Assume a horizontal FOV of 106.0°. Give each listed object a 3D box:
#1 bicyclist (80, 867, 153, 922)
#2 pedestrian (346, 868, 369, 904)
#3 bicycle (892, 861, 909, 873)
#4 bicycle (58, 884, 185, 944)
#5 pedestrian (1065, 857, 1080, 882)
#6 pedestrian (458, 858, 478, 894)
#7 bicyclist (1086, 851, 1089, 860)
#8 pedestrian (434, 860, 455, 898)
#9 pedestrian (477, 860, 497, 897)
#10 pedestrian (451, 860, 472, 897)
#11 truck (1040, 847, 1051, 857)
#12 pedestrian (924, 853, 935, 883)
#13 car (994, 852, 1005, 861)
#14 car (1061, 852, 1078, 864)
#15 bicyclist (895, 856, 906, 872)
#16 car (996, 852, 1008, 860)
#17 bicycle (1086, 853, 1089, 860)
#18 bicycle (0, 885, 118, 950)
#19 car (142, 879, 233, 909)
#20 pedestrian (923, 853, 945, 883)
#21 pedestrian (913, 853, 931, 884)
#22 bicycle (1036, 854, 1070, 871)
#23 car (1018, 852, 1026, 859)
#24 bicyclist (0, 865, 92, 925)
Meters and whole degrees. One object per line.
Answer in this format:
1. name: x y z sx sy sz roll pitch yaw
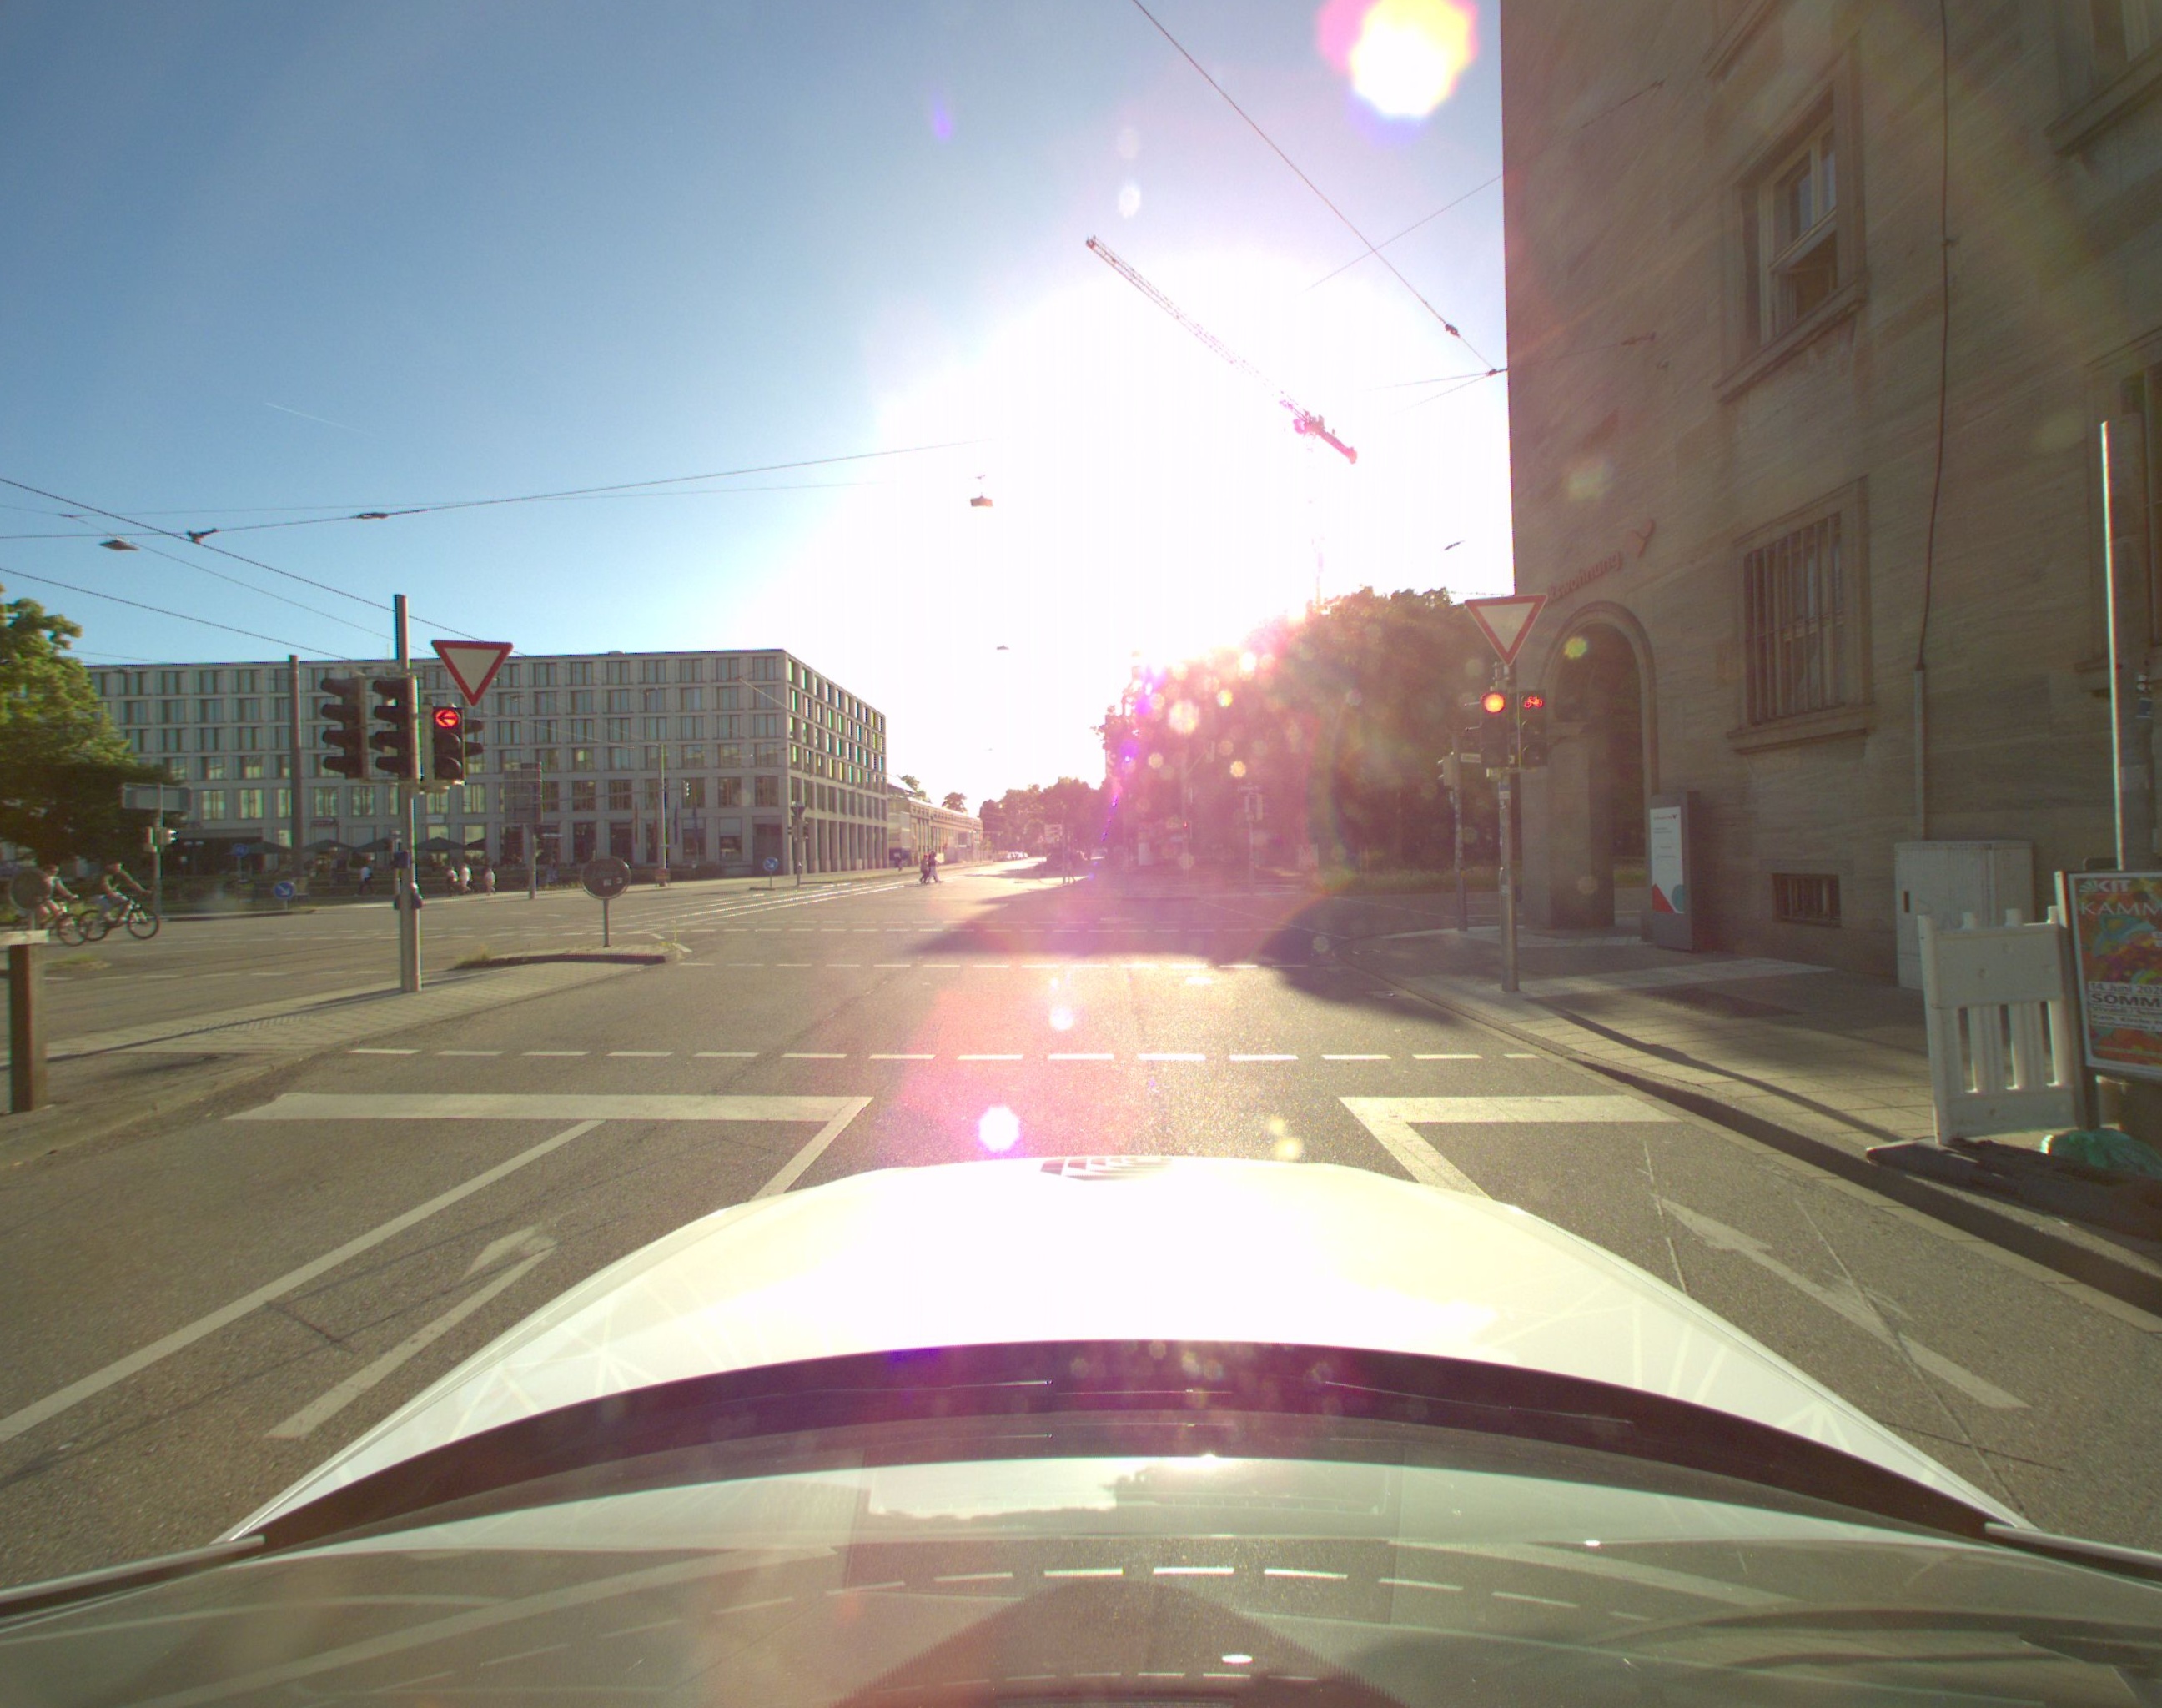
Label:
1. bicyclist: -22.370 0.935 18.901 0.718 1.218 0.798 -2 0 1
2. pedestrian: -39.144 1.731 44.075 0.557 1.903 0.684 -2 0 10
3. bicycle: -18.626 1.305 83.964 0.872 1.121 3.015 -2 0 3
4. bicycle: -22.244 1.378 18.905 1.979 1.291 0.792 -2 0 0
5. pedestrian: -0.469 0.853 44.578 0.749 1.332 0.743 -2 0 3
6. pedestrian: -34.779 1.262 46.206 0.528 2.013 0.800 -2 0 -5
7. bicyclist: 0.777 0.154 100.465 0.317 1.127 0.291 -2 0 1
8. pedestrian: -34.389 1.325 44.014 0.528 2.013 0.800 -2 0 -5
9. pedestrian: -33.218 1.341 45.521 0.528 2.013 0.800 -2 0 -5
10. pedestrian: -34.477 1.369 45.353 0.528 2.013 0.800 -2 0 -5
11. truck: -7.122 -0.430 165.617 1.908 2.092 4.002 -2 0 2
12. pedestrian: -8.410 0.763 45.201 0.440 1.662 0.376 -2 0 1
13. car: -15.674 0.417 156.711 1.724 1.653 4.002 -2 0 2
14. car: -1.273 0.438 92.445 1.814 1.279 3.999 -2 0 0
15. bicyclist: -18.620 0.996 83.980 0.872 1.641 0.822 -2 0 3
16. car: -15.528 0.367 160.661 1.724 1.653 4.002 -2 0 2
17. bicycle: 0.774 0.284 100.477 0.323 0.868 1.484 -2 0 2
18. bicycle: -22.145 1.358 17.503 1.846 1.291 0.791 -2 0 -2
19. car: -46.932 2.078 42.815 3.172 1.438 1.472 -2 0 2
20. pedestrian: -7.826 0.740 43.436 0.980 1.587 0.661 -2 -1 3
21. pedestrian: -8.617 0.799 44.140 0.792 1.639 0.534 -2 0 4
22. bicycle: -2.323 0.729 67.356 2.728 1.367 0.633 -1 -1 12
23. car: -14.041 0.337 195.139 1.478 1.750 4.002 -2 0 2
24. bicyclist: -22.229 0.862 17.513 0.922 1.218 0.796 -2 0 -1
